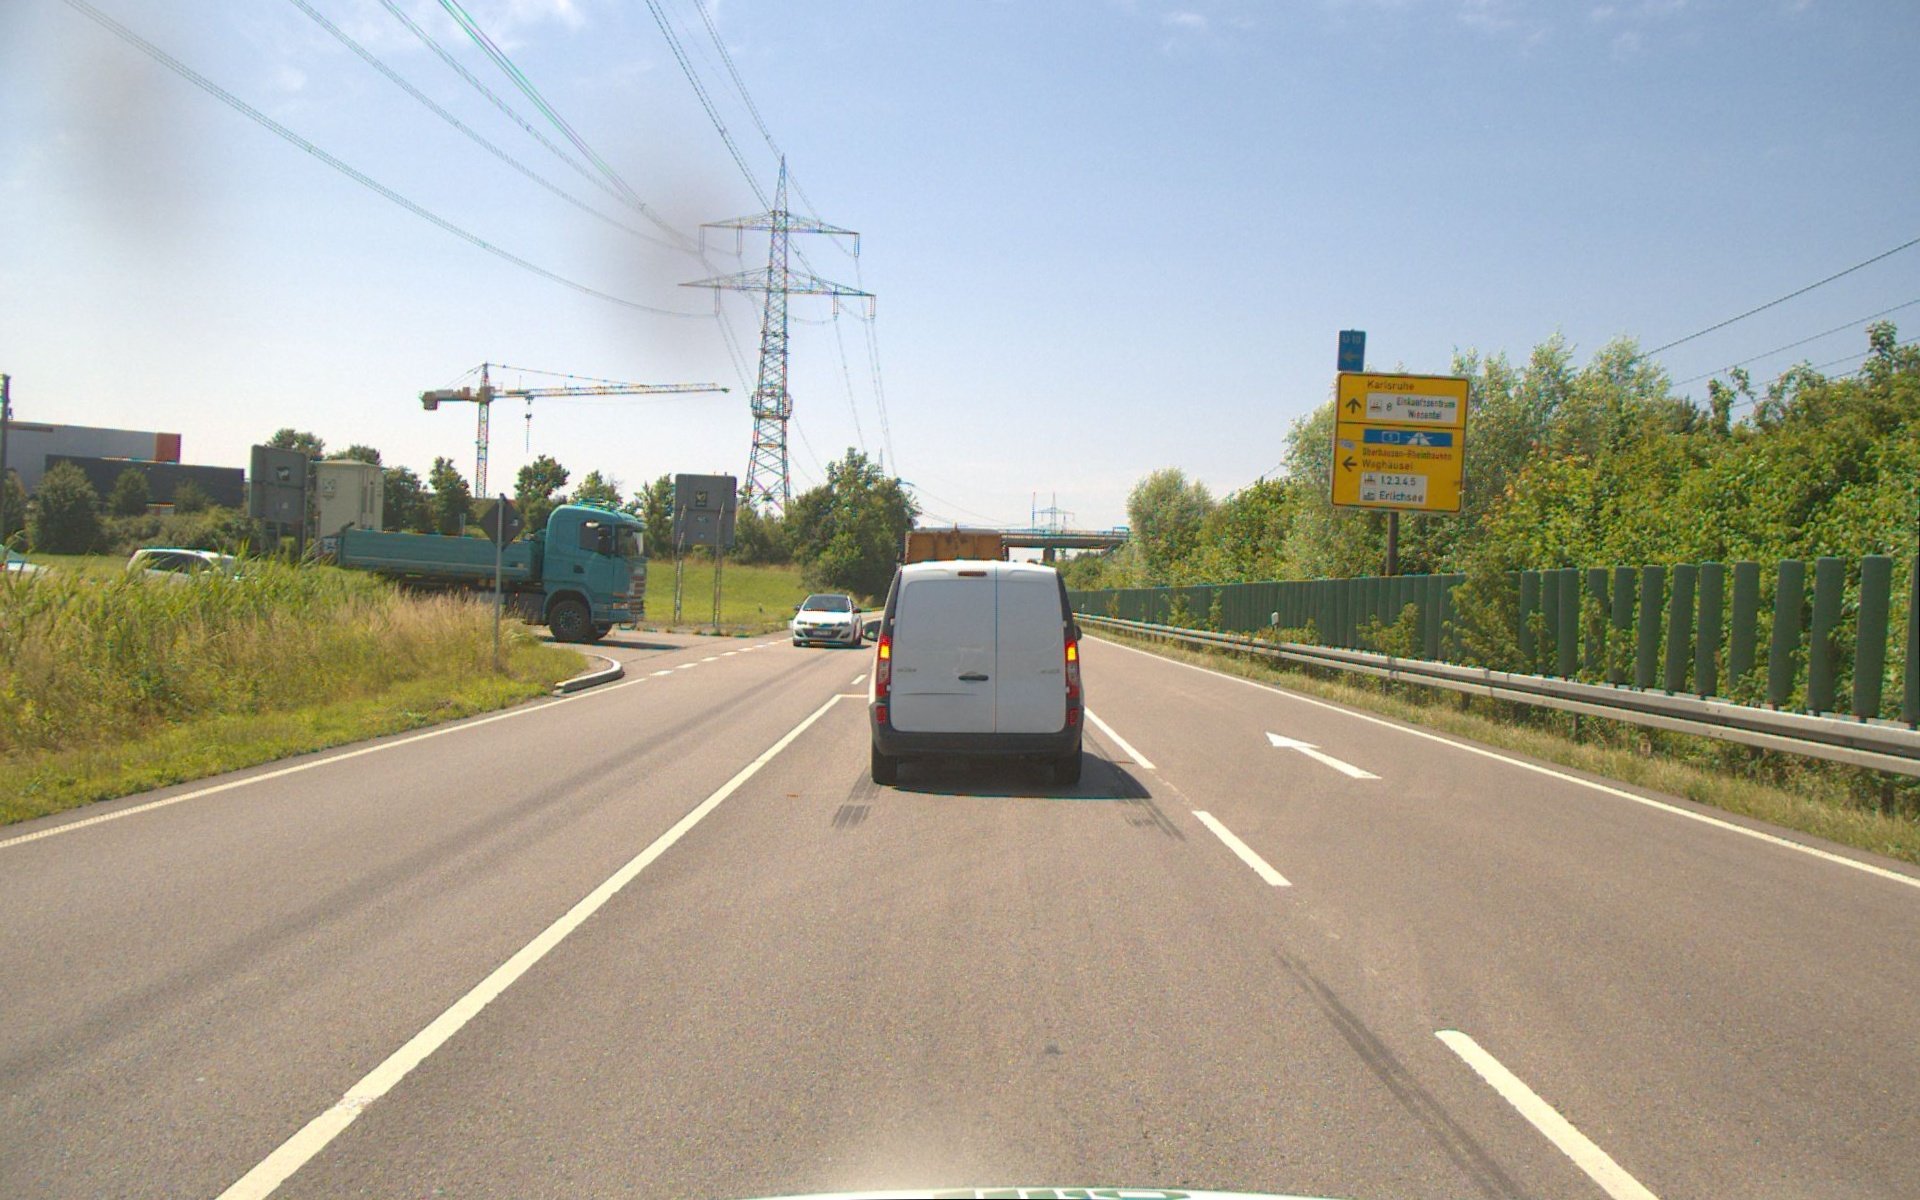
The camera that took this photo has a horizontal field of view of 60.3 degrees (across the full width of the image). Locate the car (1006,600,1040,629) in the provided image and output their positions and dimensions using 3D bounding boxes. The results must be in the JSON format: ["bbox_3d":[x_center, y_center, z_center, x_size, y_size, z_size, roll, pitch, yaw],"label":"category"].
[{"bbox_3d":[3.595,0.811,94.629,1.810,1.601,4.000,1,0,0],"label":"car"}]

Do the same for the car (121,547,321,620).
[{"bbox_3d":[-19.210,-0.433,43.041,4.445,1.640,1.969,3,0,15],"label":"car"}]

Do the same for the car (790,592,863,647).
[{"bbox_3d":[-3.807,0.529,47.830,1.689,1.466,4.249,2,0,0],"label":"car"}]

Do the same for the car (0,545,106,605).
[{"bbox_3d":[-25.224,-0.704,43.912,4.337,1.496,1.720,3,0,11],"label":"car"}]

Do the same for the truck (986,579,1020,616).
[{"bbox_3d":[3.361,-0.203,130.128,2.326,2.736,8.009,2,0,0],"label":"truck"}]

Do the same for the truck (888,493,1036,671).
[{"bbox_3d":[-0.086,-0.414,36.567,2.763,3.345,9.698,1,1,-2],"label":"truck"}]

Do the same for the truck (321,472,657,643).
[{"bbox_3d":[-12.035,-1.077,42.670,7.741,3.799,2.499,4,0,2],"label":"truck"}]

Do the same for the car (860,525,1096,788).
[{"bbox_3d":[0.134,0.431,14.742,1.789,2.005,4.000,1,0,0],"label":"car"}]
